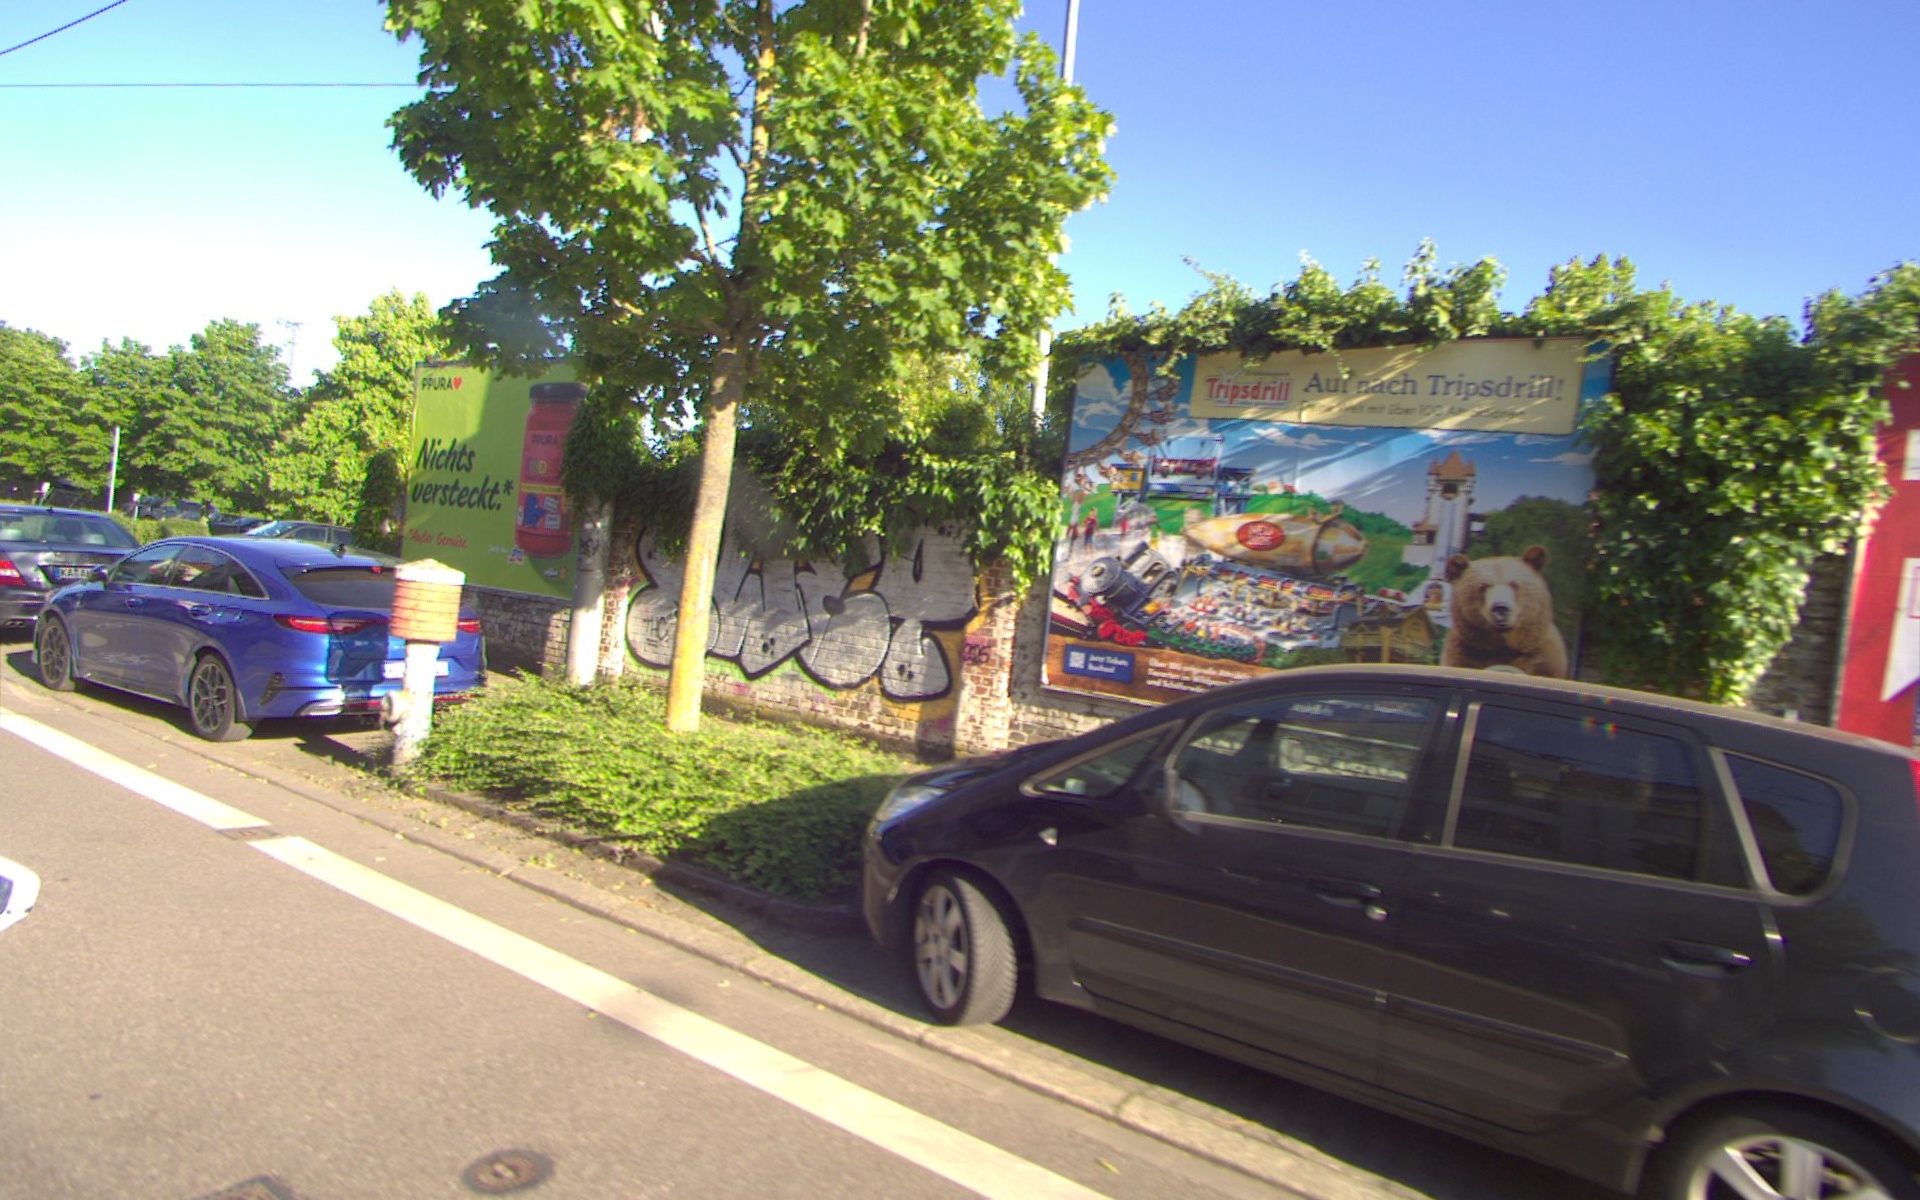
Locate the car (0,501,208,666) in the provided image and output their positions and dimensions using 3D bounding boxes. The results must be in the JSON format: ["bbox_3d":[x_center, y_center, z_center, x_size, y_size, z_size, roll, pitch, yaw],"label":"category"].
[{"bbox_3d":[-10.528,-0.317,11.160,4.421,1.481,1.732,6,-2,29],"label":"car"}]

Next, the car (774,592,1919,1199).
[{"bbox_3d":[1.385,0.934,3.870,3.750,1.512,1.826,6,1,30],"label":"car"}]

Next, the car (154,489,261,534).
[{"bbox_3d":[-45.298,-5.298,60.673,1.926,1.837,4.699,7,-2,23],"label":"car"}]

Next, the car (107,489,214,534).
[{"bbox_3d":[-49.320,-5.431,62.166,1.926,1.837,4.699,7,-2,23],"label":"car"}]

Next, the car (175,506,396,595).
[{"bbox_3d":[-15.264,-1.075,22.952,1.729,1.416,3.711,6,-2,30],"label":"car"}]

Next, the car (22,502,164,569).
[{"bbox_3d":[-18.383,-1.370,21.316,3.005,1.045,1.312,6,-2,31],"label":"car"}]

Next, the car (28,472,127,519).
[{"bbox_3d":[-56.949,-6.691,64.997,2.103,2.269,4.201,7,0,19],"label":"car"}]

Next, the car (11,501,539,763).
[{"bbox_3d":[-5.687,0.183,8.252,4.266,1.481,1.732,6,-2,29],"label":"car"}]
